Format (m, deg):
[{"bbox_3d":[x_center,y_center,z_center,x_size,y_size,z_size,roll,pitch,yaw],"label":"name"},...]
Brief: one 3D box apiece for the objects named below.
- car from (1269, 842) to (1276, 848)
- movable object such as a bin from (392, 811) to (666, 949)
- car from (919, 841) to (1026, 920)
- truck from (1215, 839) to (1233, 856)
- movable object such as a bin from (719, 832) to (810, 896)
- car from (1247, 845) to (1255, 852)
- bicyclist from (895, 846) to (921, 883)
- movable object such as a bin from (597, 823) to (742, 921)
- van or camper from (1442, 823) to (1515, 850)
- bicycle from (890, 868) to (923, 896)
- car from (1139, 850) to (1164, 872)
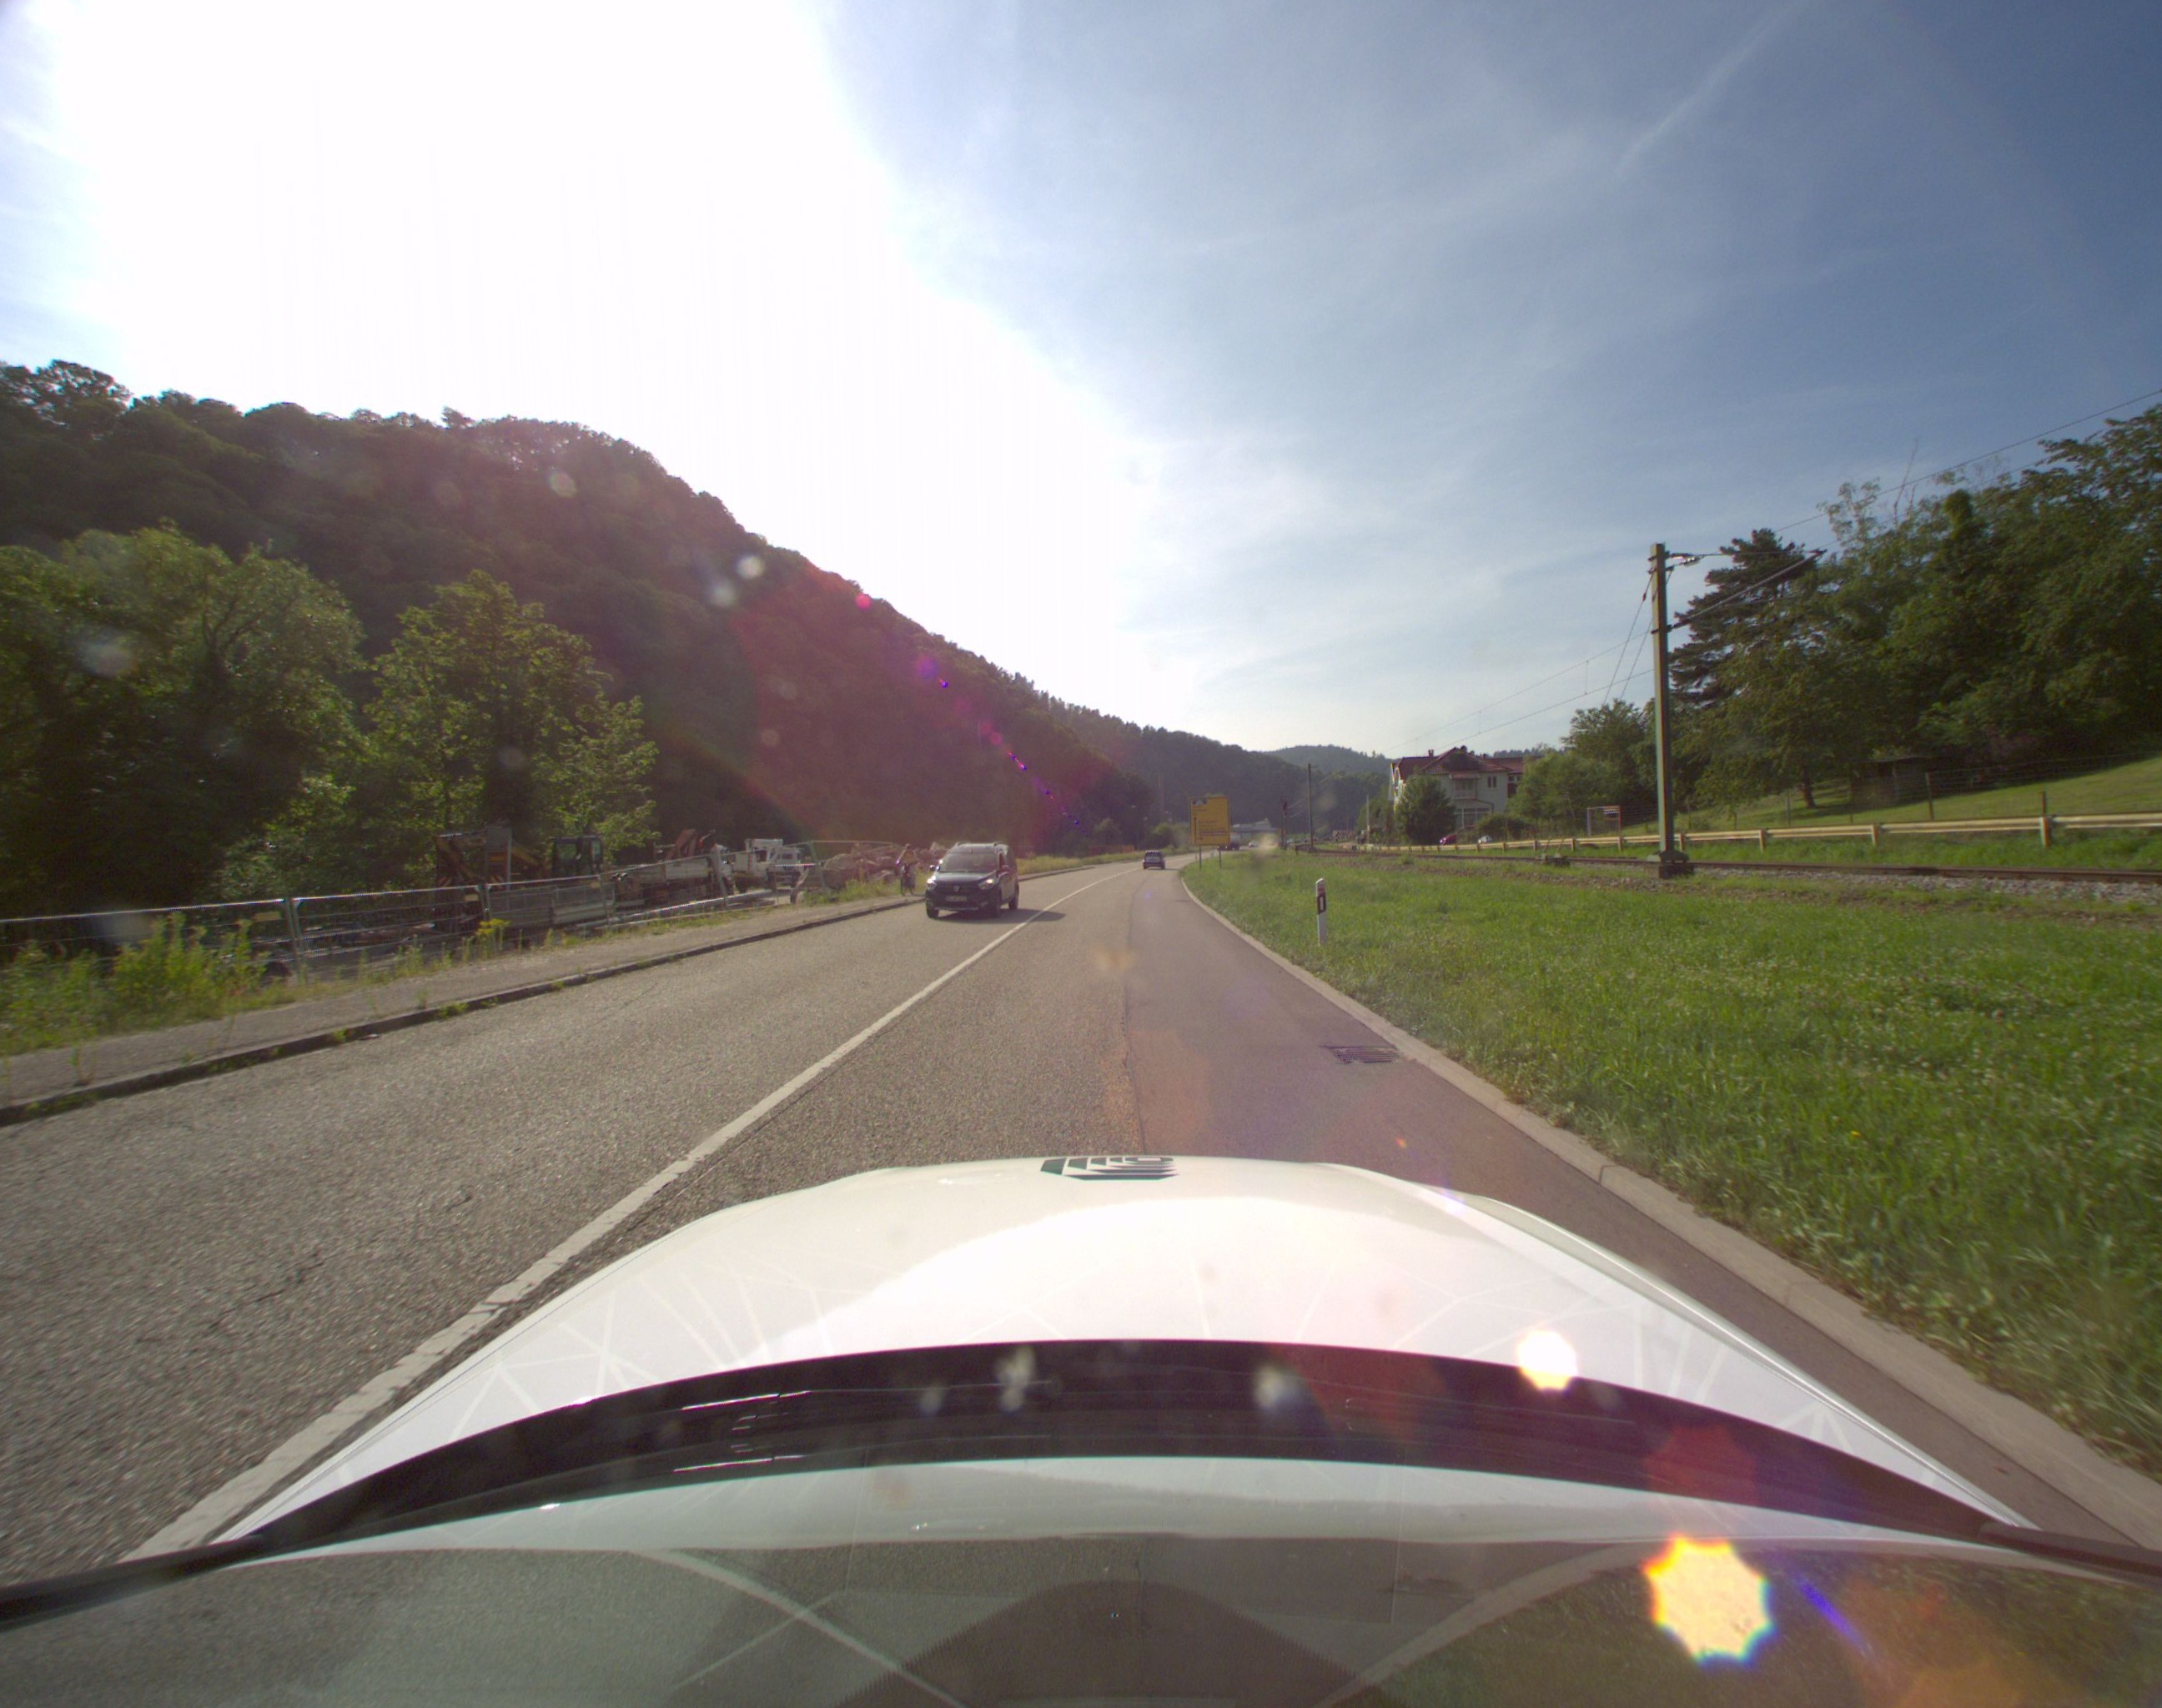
[{"bbox_3d":[54.678,-2.472,232.663,1.710,1.624,3.813,0,1,17],"label":"car"},{"bbox_3d":[-18.973,0.786,29.222,2.690,3.947,9.991,-3,0,1],"label":"movable object such as a bin"},{"bbox_3d":[-2.607,0.607,20.786,1.843,1.784,4.688,0,0,3],"label":"car"},{"bbox_3d":[32.756,-1.553,186.143,2.728,3.835,8.237,0,1,18],"label":"truck"},{"bbox_3d":[-21.781,0.661,56.555,2.887,3.947,7.811,-3,0,1],"label":"movable object such as a bin"},{"bbox_3d":[44.837,-1.466,215.002,1.979,1.758,4.487,1,1,14],"label":"car"},{"bbox_3d":[-5.899,0.345,27.777,0.681,1.225,0.858,-1,0,2],"label":"bicyclist"},{"bbox_3d":[-18.817,0.772,37.840,2.712,3.947,7.231,-3,0,1],"label":"movable object such as a bin"},{"bbox_3d":[34.501,-1.505,70.827,5.377,1.929,2.129,-3,0,14],"label":"van or camper"},{"bbox_3d":[-5.906,0.945,27.677,0.537,0.881,2.254,0,0,2],"label":"bicycle"},{"bbox_3d":[6.276,0.601,72.007,1.983,1.723,3.998,-3,0,7],"label":"car"}]
